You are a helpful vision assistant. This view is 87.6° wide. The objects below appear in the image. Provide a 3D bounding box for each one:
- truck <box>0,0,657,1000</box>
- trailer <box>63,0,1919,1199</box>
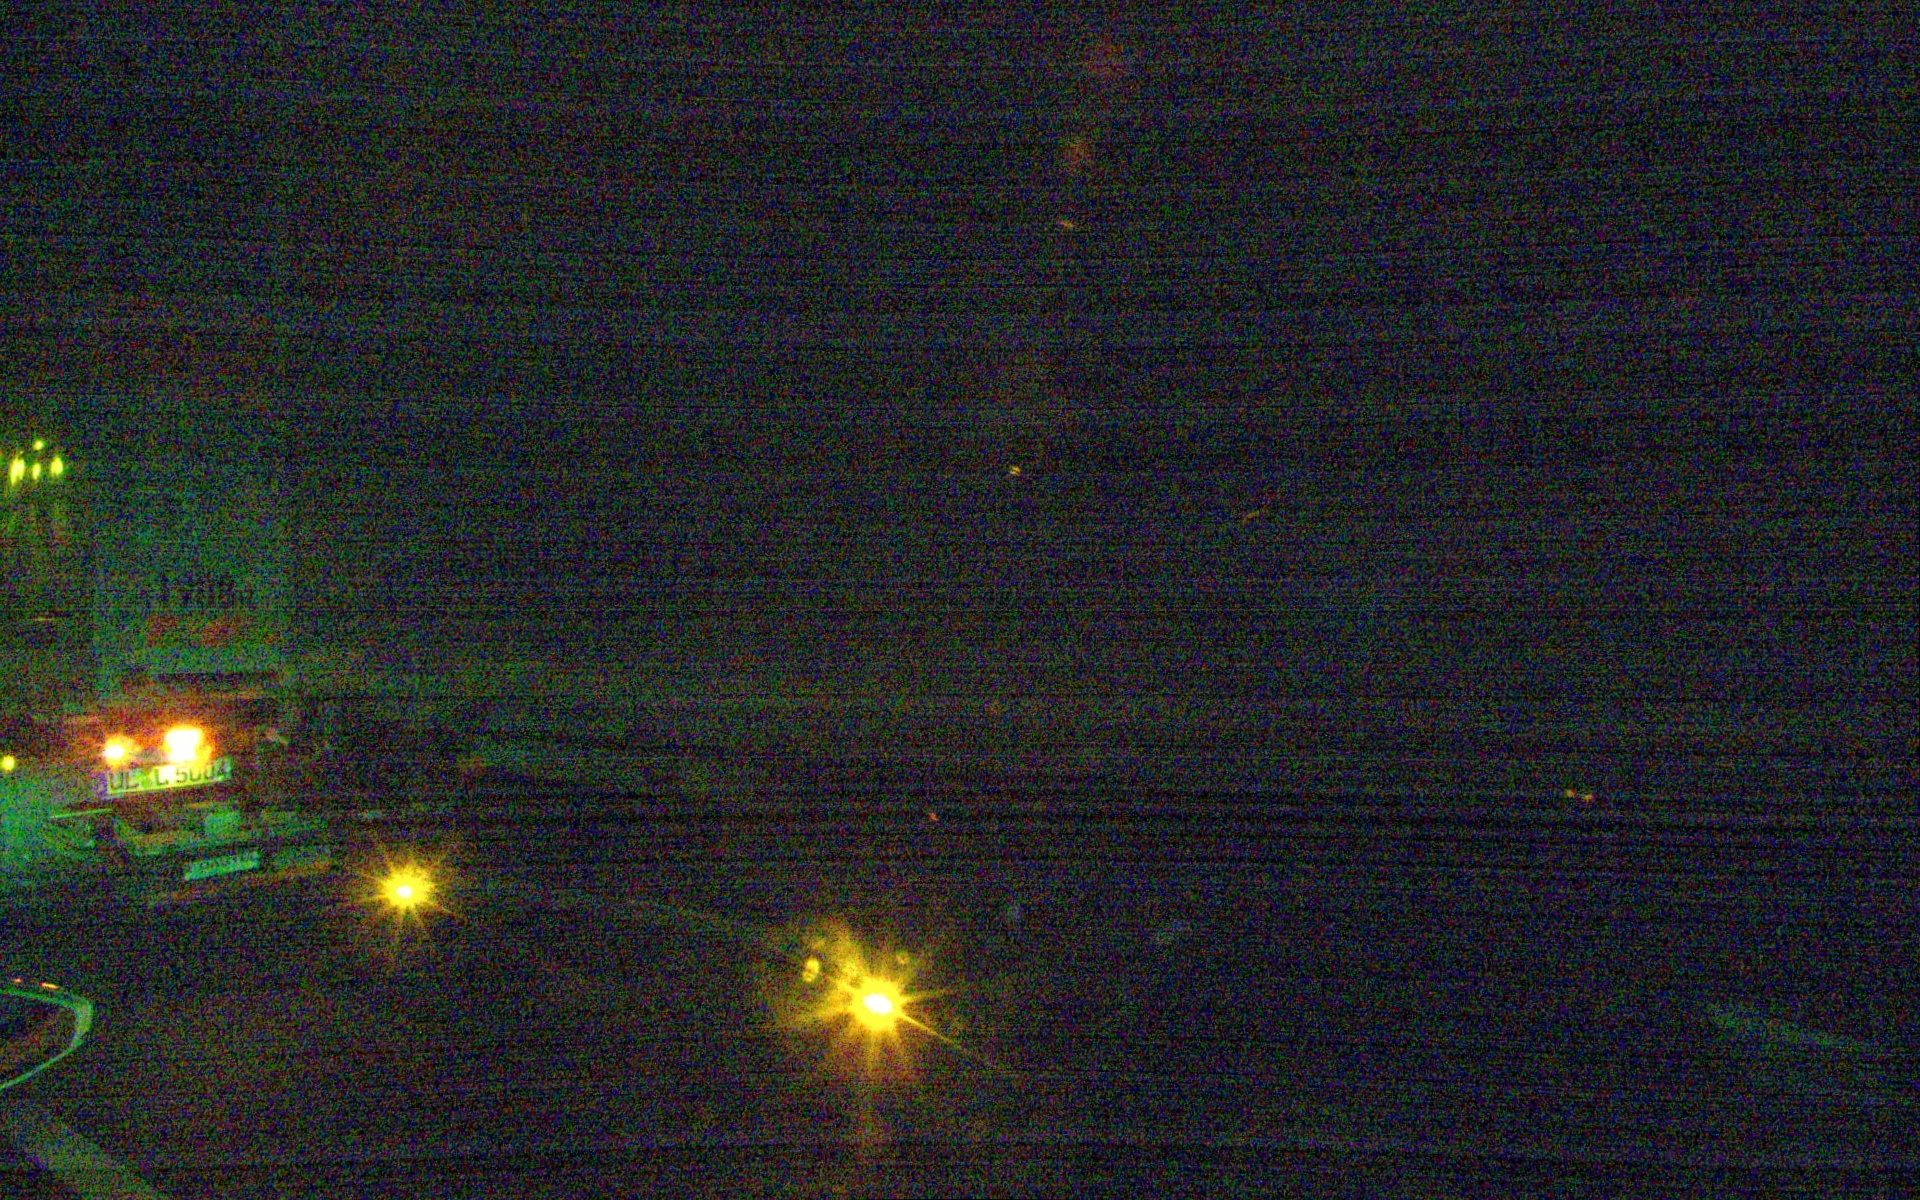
[{"bbox_3d":[-6.821,-0.356,7.692,9.765,3.965,2.883,-1,0,32],"label":"truck"},{"bbox_3d":[1.000,-0.496,2.707,8.821,3.909,2.869,-1,0,33],"label":"trailer"}]
